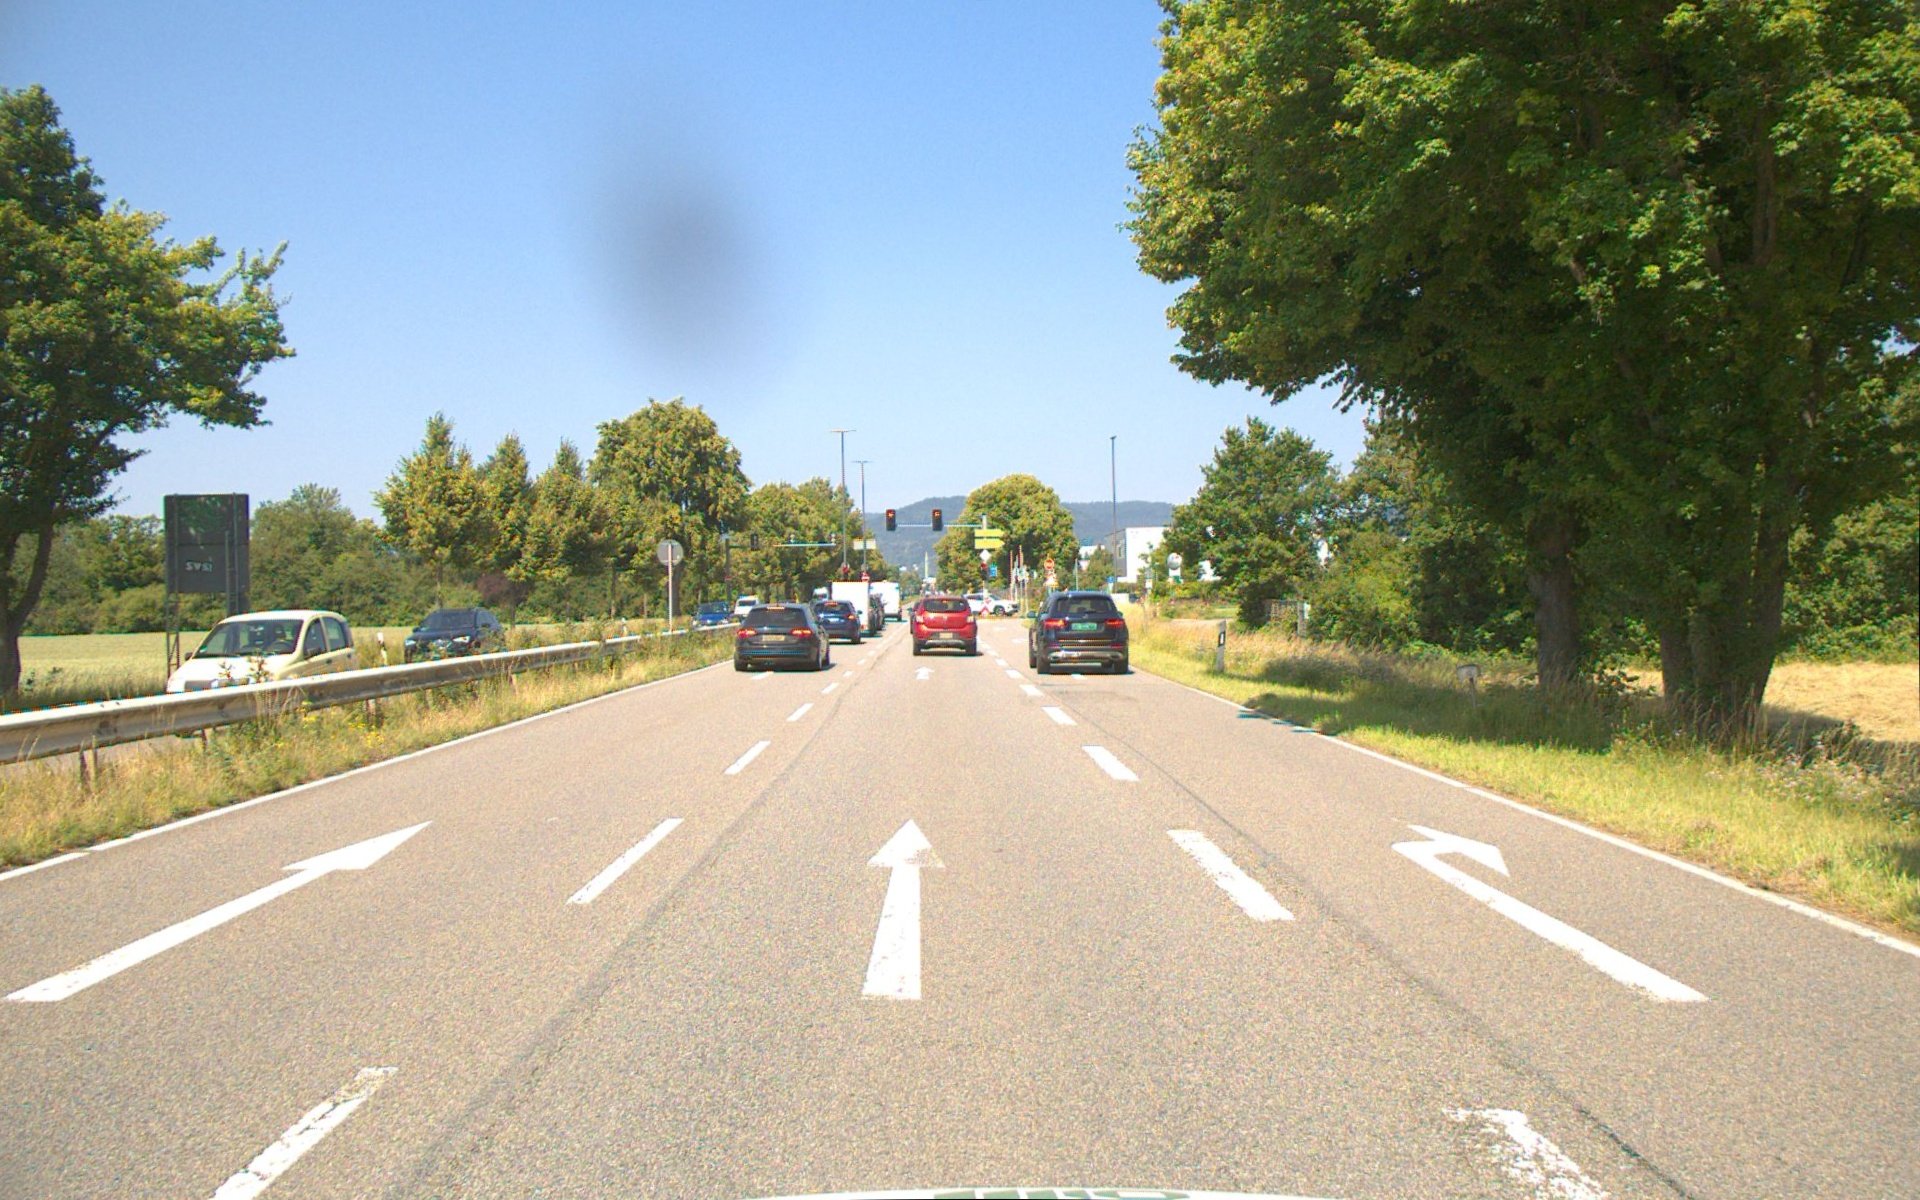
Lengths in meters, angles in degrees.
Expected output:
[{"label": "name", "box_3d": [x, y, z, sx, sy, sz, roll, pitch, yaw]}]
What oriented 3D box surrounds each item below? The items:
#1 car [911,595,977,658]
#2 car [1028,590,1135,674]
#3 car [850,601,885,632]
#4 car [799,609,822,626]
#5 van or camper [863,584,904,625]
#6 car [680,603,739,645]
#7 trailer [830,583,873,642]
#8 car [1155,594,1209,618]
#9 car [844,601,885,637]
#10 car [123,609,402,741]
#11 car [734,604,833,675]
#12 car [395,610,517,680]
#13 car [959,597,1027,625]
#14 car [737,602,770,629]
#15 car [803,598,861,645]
[{"label": "car", "box_3d": [-0.392, 0.686, 44.412, 1.713, 1.603, 3.676, 0, 0, 0]}, {"label": "car", "box_3d": [2.469, 0.620, 34.478, 1.952, 1.645, 4.339, 0, 0, 0]}, {"label": "car", "box_3d": [-4.964, 0.893, 89.521, 1.689, 1.628, 3.955, 0, 0, 0]}, {"label": "car", "box_3d": [-14.266, 1.638, 157.849, 1.841, 1.480, 4.503, -1, 0, -2]}, {"label": "van or camper", "box_3d": [-4.606, 0.274, 100.182, 2.134, 2.343, 4.826, -2, 0, 0]}, {"label": "car", "box_3d": [-10.768, 0.992, 71.404, 1.953, 1.692, 4.479, -1, 0, -2]}, {"label": "trailer", "box_3d": [-4.203, 0.464, 64.479, 1.470, 2.211, 4.173, 0, 0, -1]}, {"label": "car", "box_3d": [15.995, 0.445, 119.103, 3.737, 1.608, 2.076, -2, 0, 10]}, {"label": "car", "box_3d": [-4.347, 0.865, 75.679, 1.688, 1.603, 3.892, 0, 0, 0]}, {"label": "car", "box_3d": [-9.384, 0.936, 22.709, 1.953, 1.584, 4.480, -1, 0, -1]}, {"label": "car", "box_3d": [-3.757, 0.805, 35.842, 1.705, 1.404, 4.454, -1, 0, -1]}, {"label": "car", "box_3d": [-13.208, 1.134, 43.618, 1.953, 1.692, 4.479, -1, 0, -2]}, {"label": "car", "box_3d": [2.327, 0.775, 116.871, 4.398, 1.900, 1.885, -2, 0, 22]}, {"label": "car", "box_3d": [-15.545, 1.163, 124.744, 1.953, 1.986, 4.828, -2, 0, -2]}, {"label": "car", "box_3d": [-4.210, 0.683, 54.844, 1.682, 1.491, 4.029, 0, 0, -1]}]
